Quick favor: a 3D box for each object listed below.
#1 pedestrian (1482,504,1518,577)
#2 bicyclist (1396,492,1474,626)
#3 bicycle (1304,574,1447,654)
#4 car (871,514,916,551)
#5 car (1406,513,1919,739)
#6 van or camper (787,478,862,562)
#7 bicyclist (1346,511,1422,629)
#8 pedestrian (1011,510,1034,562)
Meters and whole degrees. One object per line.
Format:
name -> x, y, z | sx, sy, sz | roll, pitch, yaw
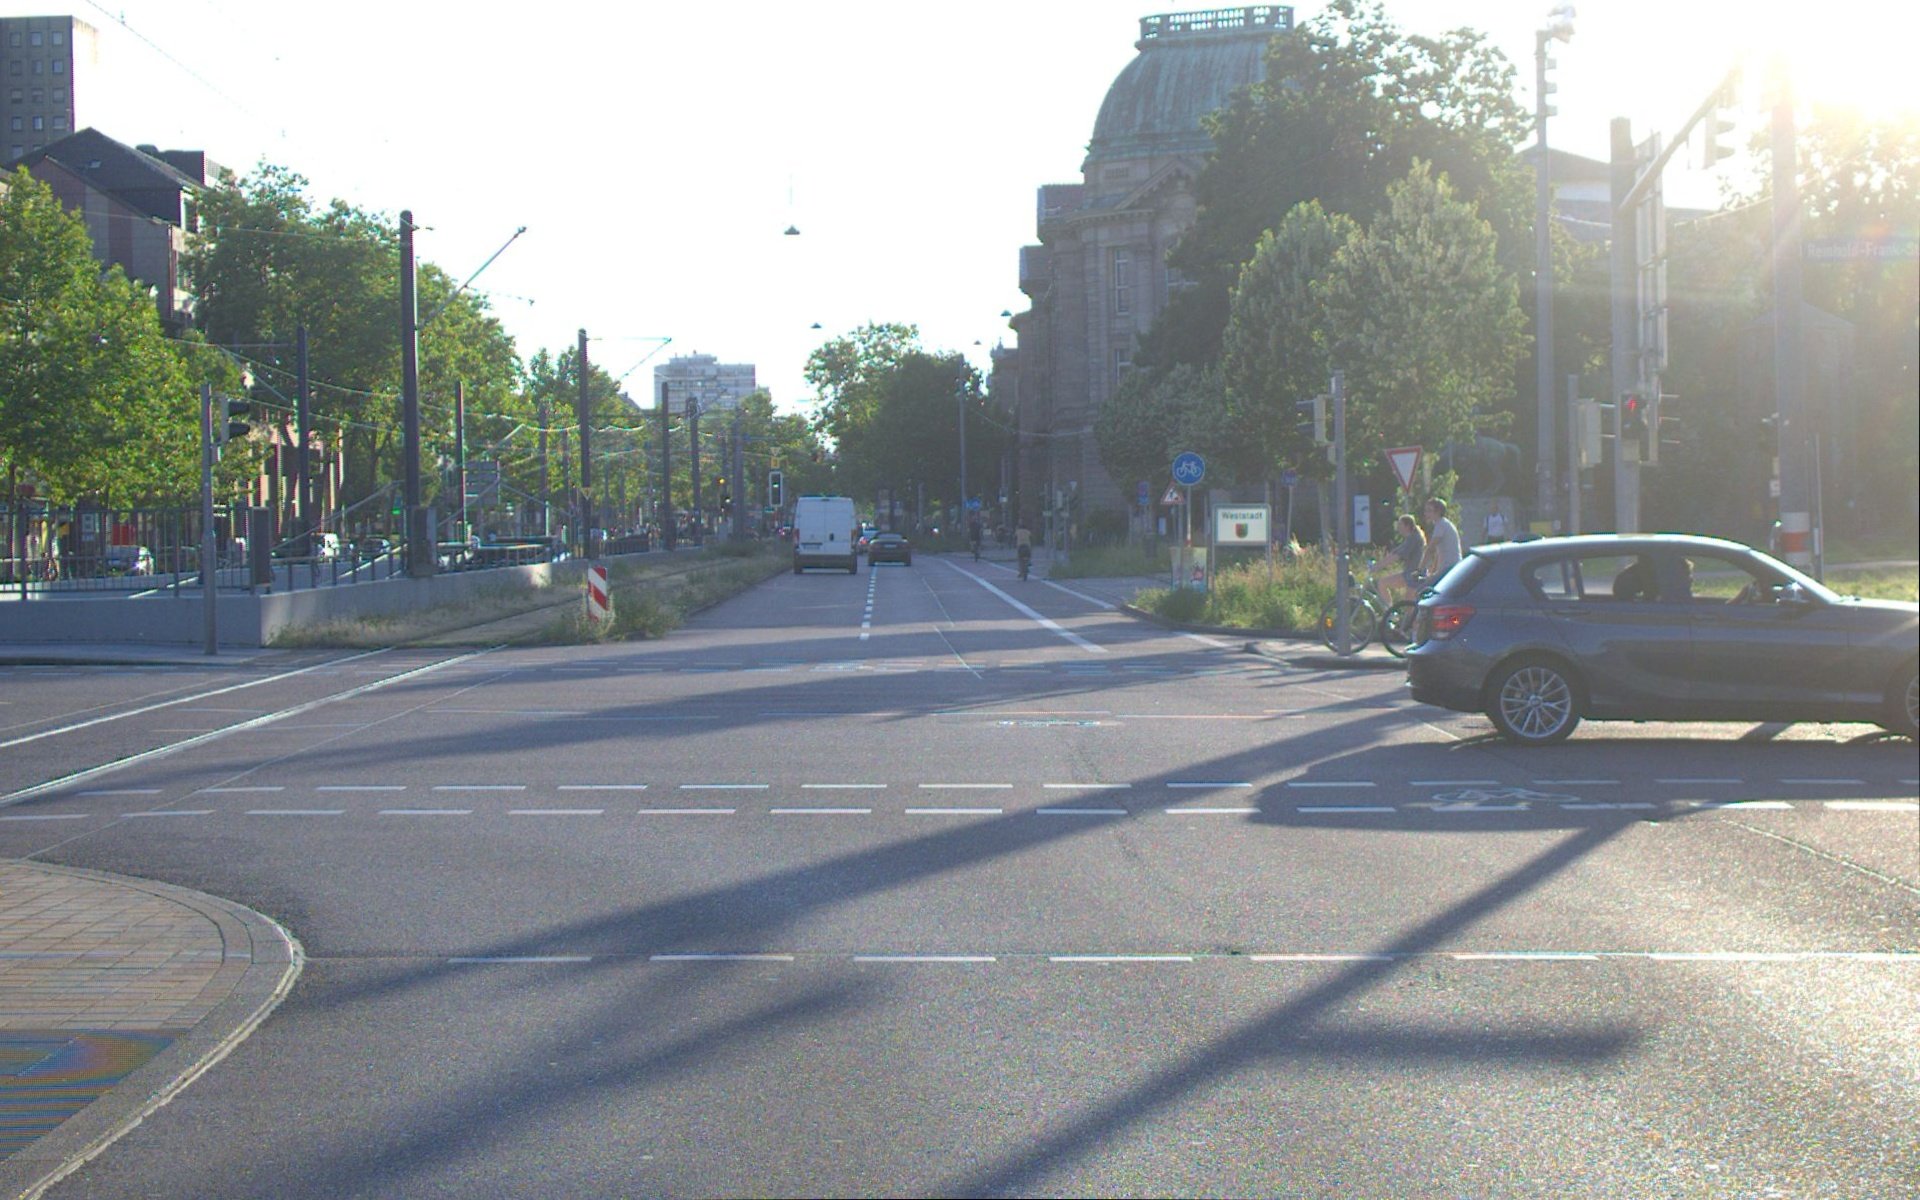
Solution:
pedestrian -> 12.108, -1.330, 77.136 | 0.682, 1.605, 0.613 | -1, 2, -1
bicyclist -> 5.689, -0.494, 41.187 | 0.797, 1.566, 0.663 | -1, 2, -2
bicycle -> 5.198, 0.168, 43.019 | 1.718, 0.966, 0.609 | 0, 2, 0
car -> -2.670, -2.743, 138.991 | 1.737, 1.381, 4.001 | -1, 3, -1
car -> 5.152, 0.151, 23.820 | 3.987, 1.429, 1.718 | 1, 3, 4
van or camper -> -4.421, -2.640, 112.577 | 2.263, 2.615, 4.503 | -1, 3, 0
bicyclist -> 5.304, -0.376, 42.998 | 0.853, 1.437, 0.663 | -1, 2, 0
pedestrian -> 1.808, -1.871, 99.845 | 0.616, 1.470, 0.800 | -1, 2, 3
